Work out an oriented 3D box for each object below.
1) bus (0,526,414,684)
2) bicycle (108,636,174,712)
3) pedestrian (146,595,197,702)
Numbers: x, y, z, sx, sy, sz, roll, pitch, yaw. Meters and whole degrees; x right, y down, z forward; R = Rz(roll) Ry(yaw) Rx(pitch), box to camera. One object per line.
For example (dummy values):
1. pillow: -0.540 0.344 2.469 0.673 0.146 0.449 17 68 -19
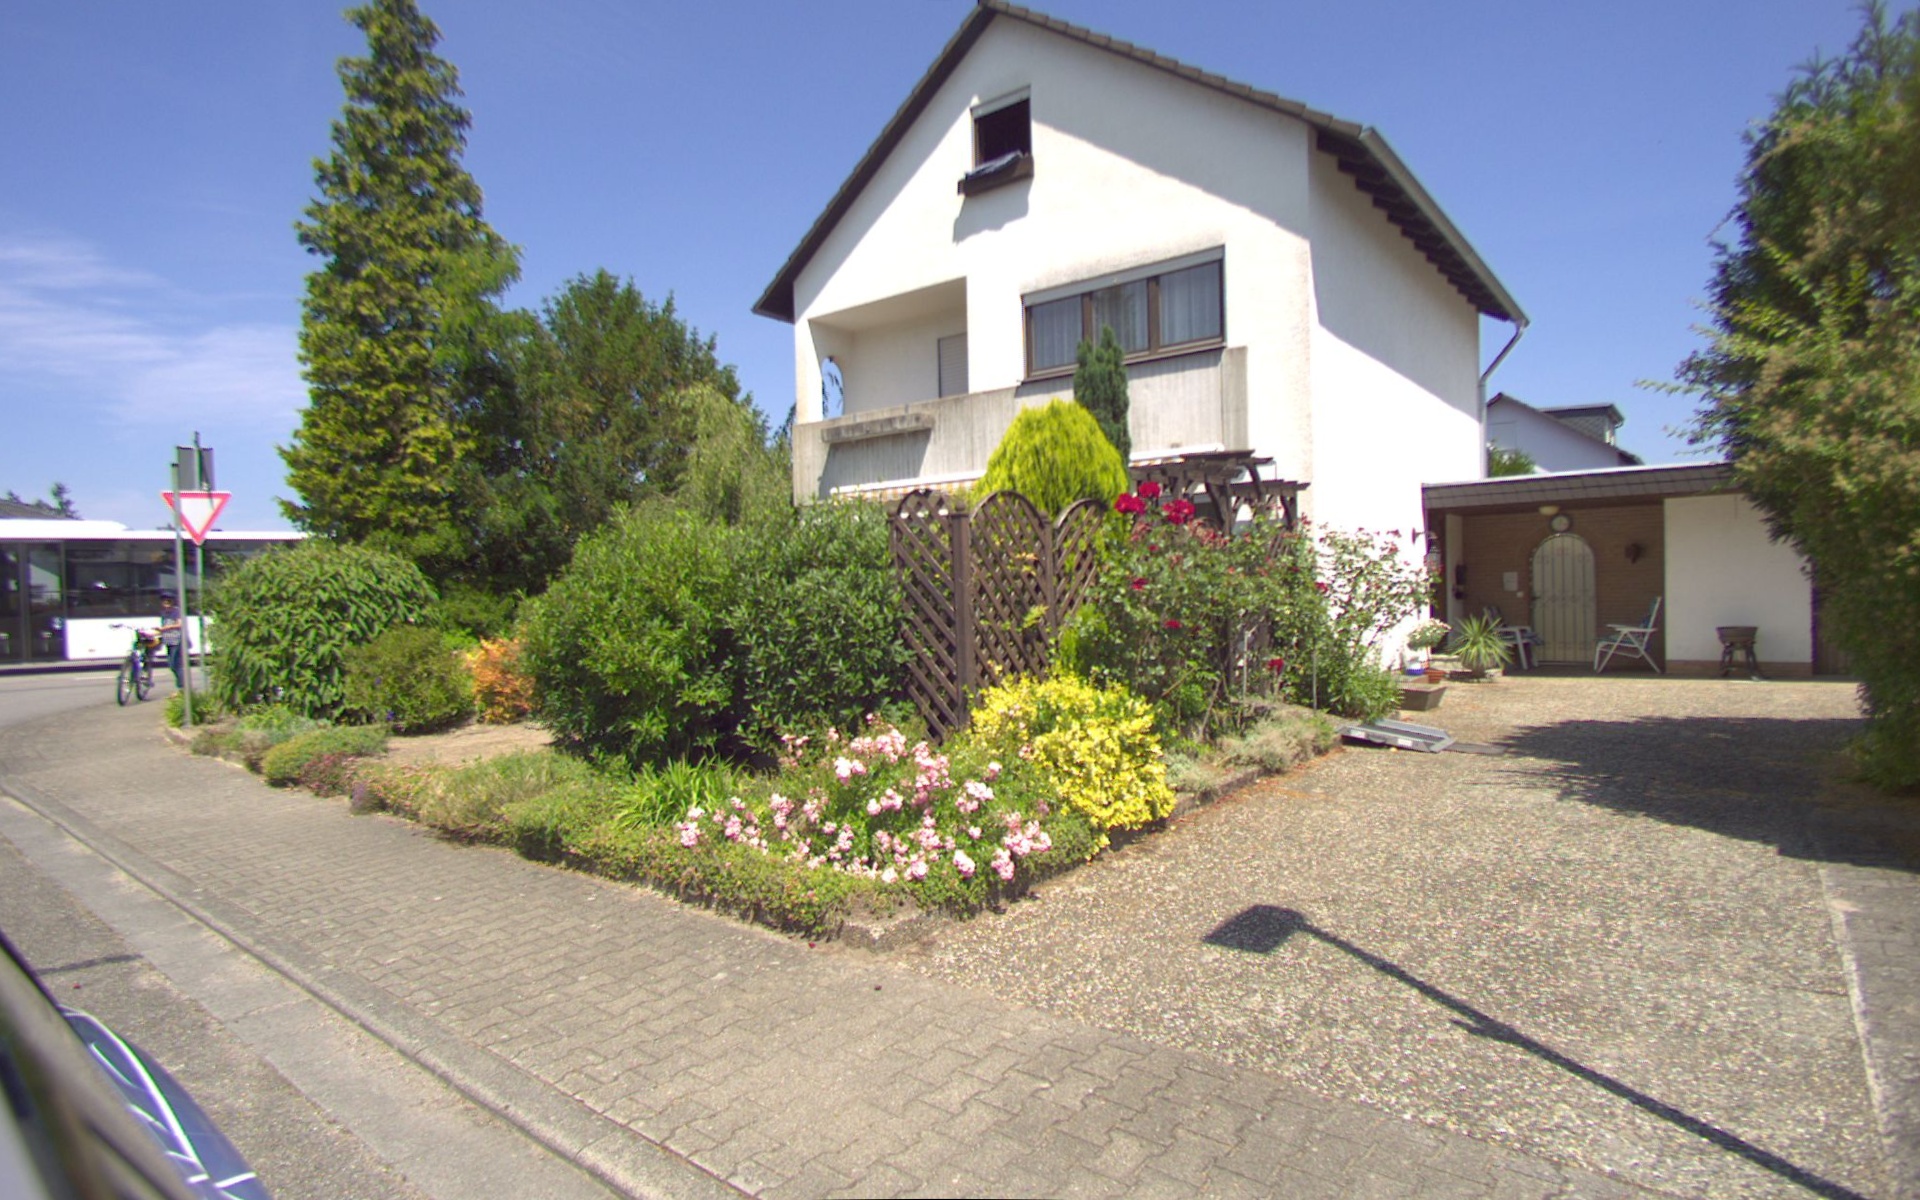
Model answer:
1. bus: -19.681 0.100 22.976 12.500 3.269 3.200 -1 0 -35
2. bicycle: -11.685 1.028 14.472 0.436 0.971 1.854 -1 0 -30
3. pedestrian: -11.446 0.688 14.704 0.496 1.512 0.614 -1 0 -31
